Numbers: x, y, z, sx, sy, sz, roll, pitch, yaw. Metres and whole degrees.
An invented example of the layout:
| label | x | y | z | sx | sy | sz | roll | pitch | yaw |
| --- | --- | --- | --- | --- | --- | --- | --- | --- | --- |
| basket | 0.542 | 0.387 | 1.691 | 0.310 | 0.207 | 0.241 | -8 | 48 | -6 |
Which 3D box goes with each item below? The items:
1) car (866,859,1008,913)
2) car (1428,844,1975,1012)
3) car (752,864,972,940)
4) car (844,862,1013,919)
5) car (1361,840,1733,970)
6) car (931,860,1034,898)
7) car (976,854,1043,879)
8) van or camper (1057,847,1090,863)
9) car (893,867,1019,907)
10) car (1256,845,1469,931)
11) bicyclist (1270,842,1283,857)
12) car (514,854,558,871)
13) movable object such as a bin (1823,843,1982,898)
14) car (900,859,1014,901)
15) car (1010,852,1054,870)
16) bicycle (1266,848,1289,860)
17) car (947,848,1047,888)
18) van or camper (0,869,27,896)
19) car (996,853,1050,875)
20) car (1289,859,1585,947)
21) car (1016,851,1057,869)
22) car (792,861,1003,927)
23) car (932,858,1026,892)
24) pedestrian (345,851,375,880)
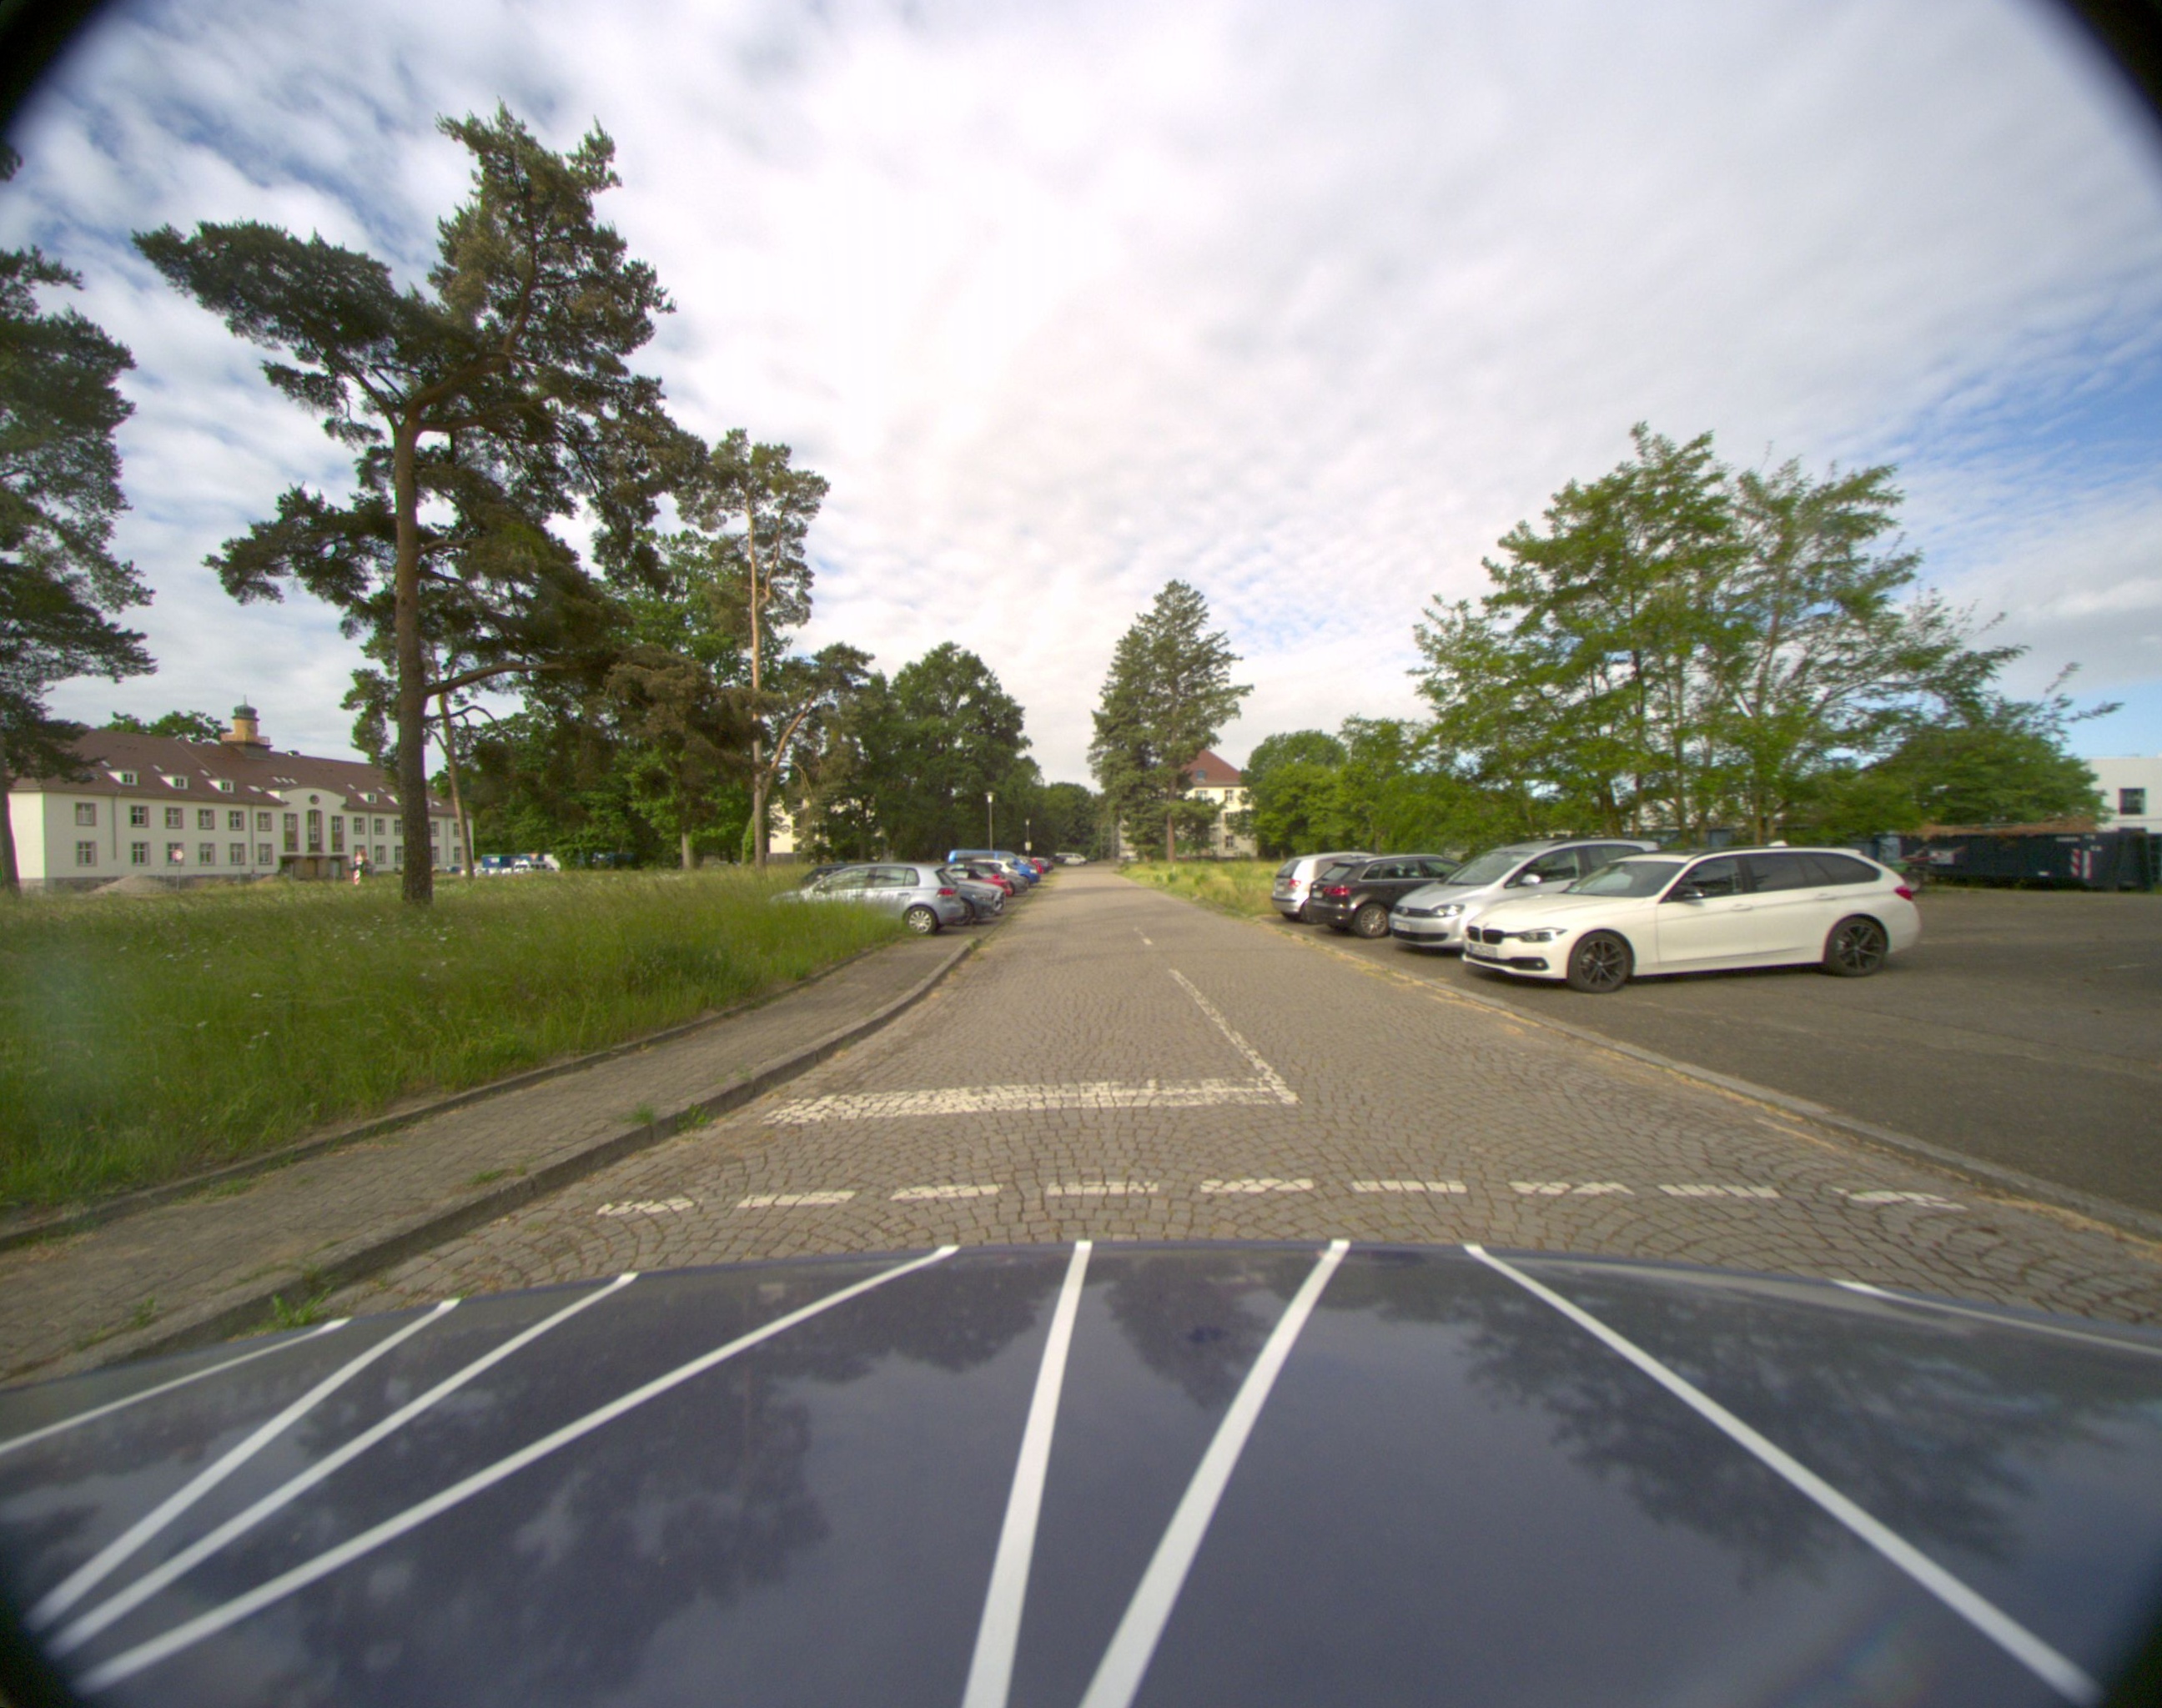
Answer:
| label | x | y | z | sx | sy | sz | roll | pitch | yaw |
| --- | --- | --- | --- | --- | --- | --- | --- | --- | --- |
| car | -4.353 | 0.956 | 23.360 | 3.932 | 1.504 | 1.797 | -1 | 1 | 2 |
| car | 6.888 | 0.747 | 8.797 | 4.819 | 1.431 | 1.913 | -3 | 1 | -3 |
| car | -4.401 | 0.949 | 15.725 | 3.997 | 1.410 | 1.796 | -1 | 1 | 1 |
| car | -4.125 | 0.986 | 21.042 | 4.266 | 1.437 | 1.797 | -1 | 1 | 2 |
| car | 6.790 | 0.687 | 11.373 | 4.486 | 1.580 | 1.846 | -3 | 1 | -4 |
| car | -3.982 | 0.991 | 31.146 | 3.933 | 1.427 | 1.796 | -1 | 1 | 0 |
| car | -4.487 | 0.767 | 48.359 | 3.996 | 1.496 | 1.869 | -1 | 1 | 2 |
| van or camper | -1.210 | 0.153 | 122.486 | 5.248 | 2.449 | 2.208 | -1 | 1 | -2 |
| car | -4.189 | 1.114 | 25.859 | 3.932 | 1.227 | 1.797 | -1 | 1 | 1 |
| car | 6.122 | 0.707 | 16.757 | 3.985 | 1.448 | 1.680 | -5 | 1 | -5 |
| bicyclist | 24.670 | -0.526 | 95.911 | 1.318 | 1.857 | 1.250 | -1 | 1 | 5 |
| car | -68.474 | 1.079 | 95.593 | 2.166 | 2.002 | 4.833 | -1 | 0 | -2 |
| movable object such as a bin | 19.366 | 0.370 | 17.970 | 2.537 | 1.205 | 1.170 | -1 | 1 | -1 |
| car | -4.584 | 0.951 | 28.460 | 3.932 | 1.467 | 1.796 | -1 | 1 | 1 |
| car | -4.432 | 0.623 | 68.964 | 3.791 | 1.560 | 2.000 | -1 | 1 | 1 |
| bicycle | 24.773 | -0.006 | 95.900 | 2.673 | 1.496 | 1.273 | -1 | 1 | 5 |
| car | -4.301 | 0.704 | 39.426 | 4.839 | 2.002 | 2.000 | -1 | 1 | 4 |
| van or camper | -95.088 | 2.465 | 64.998 | 6.124 | 2.293 | 2.464 | -1 | 1 | -3 |
| car | -4.445 | 0.763 | 58.654 | 3.998 | 1.560 | 1.999 | -1 | 1 | -3 |
| car | 6.441 | 0.850 | 14.097 | 4.633 | 1.414 | 1.884 | -1 | 1 | -3 |
| car | -4.250 | 0.582 | 73.444 | 3.791 | 1.615 | 2.000 | -1 | 1 | 1 |
| car | -4.301 | 0.921 | 18.319 | 4.630 | 1.437 | 1.796 | -1 | 1 | 0 |
| car | -4.544 | 0.936 | 34.236 | 3.933 | 1.441 | 1.796 | -1 | 1 | 0 |
| pedestrian | -54.727 | 0.827 | 57.698 | 1.184 | 2.165 | 1.056 | -1 | 1 | 0 |
